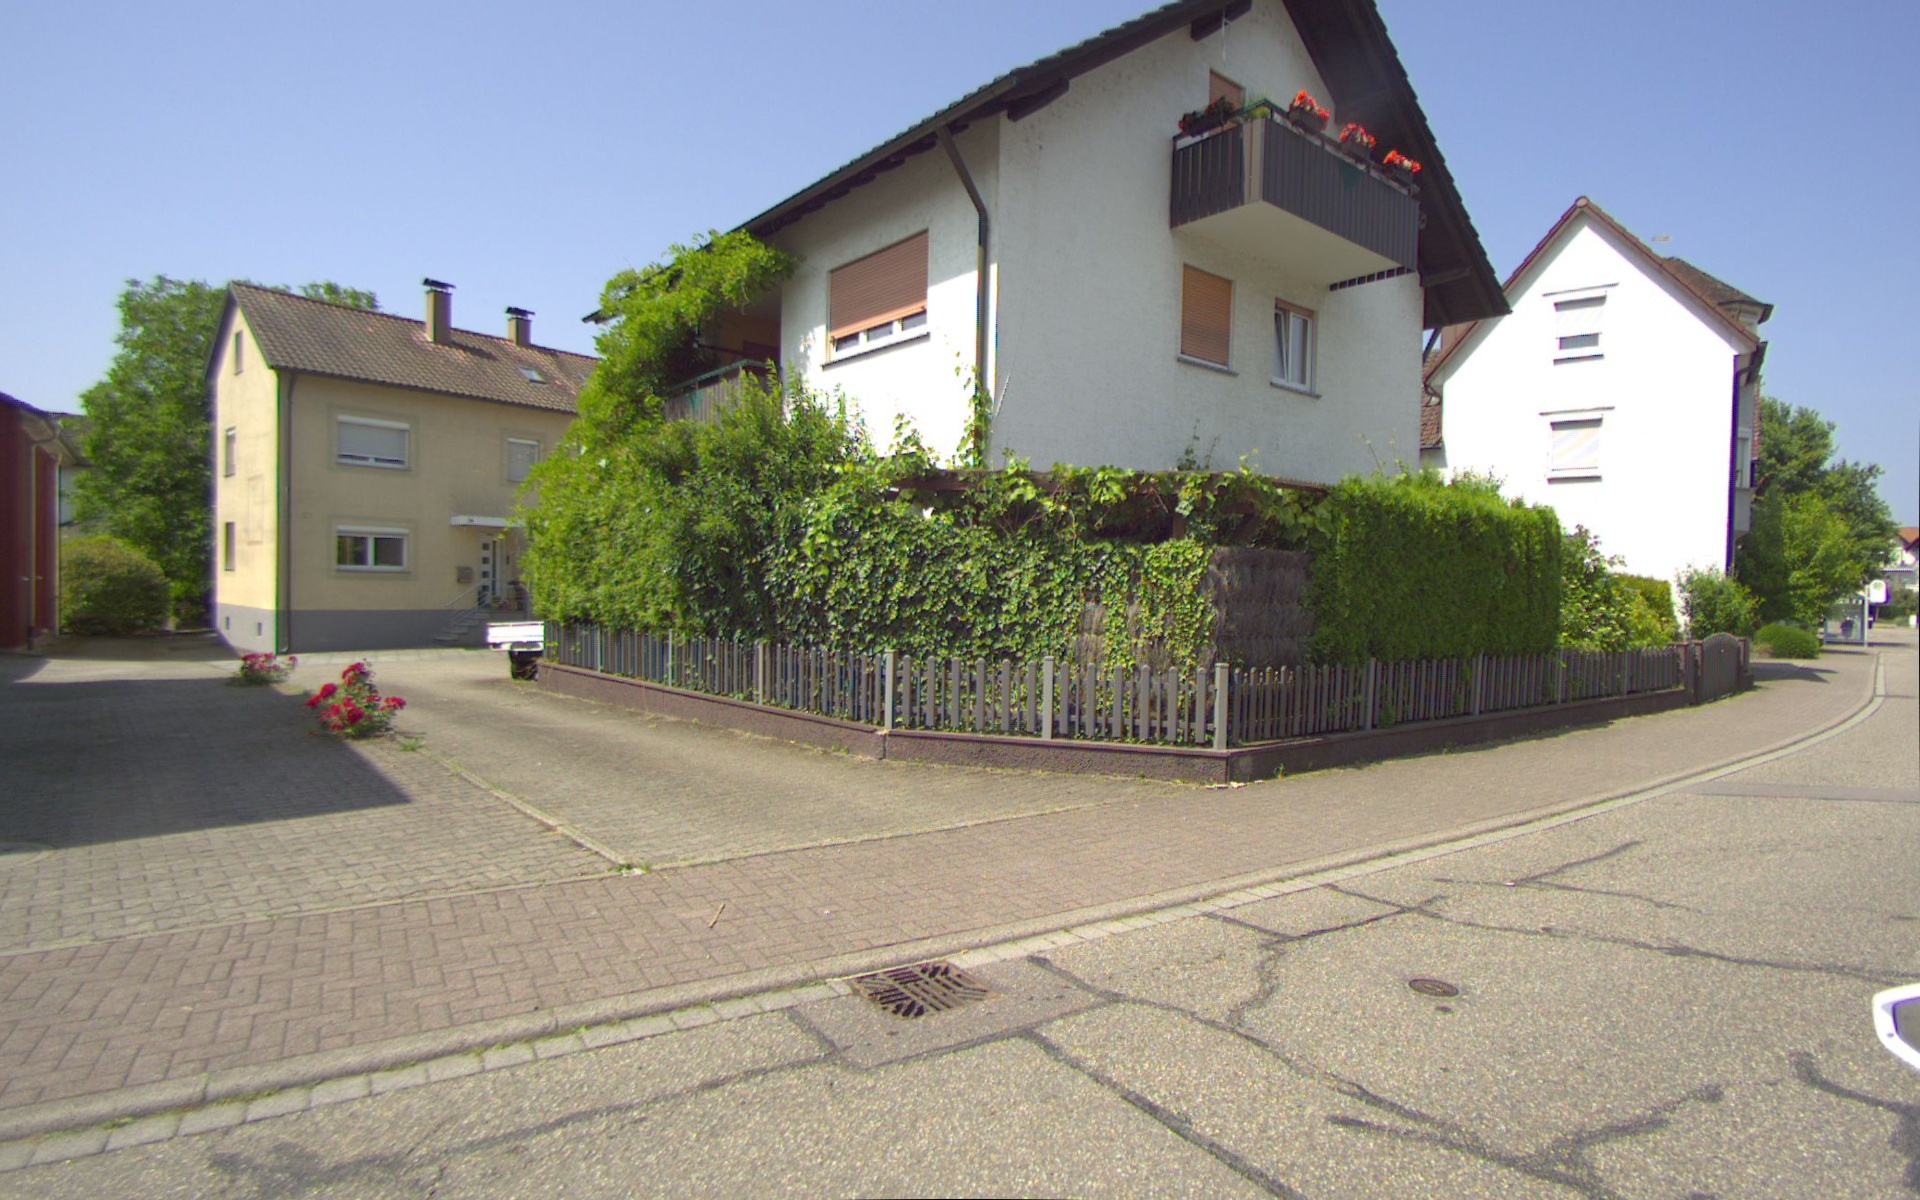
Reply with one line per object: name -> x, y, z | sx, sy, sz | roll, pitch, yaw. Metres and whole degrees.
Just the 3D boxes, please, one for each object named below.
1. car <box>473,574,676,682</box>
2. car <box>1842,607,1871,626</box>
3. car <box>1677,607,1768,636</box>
car -> -7.069, 0.549, 19.020 | 1.694, 1.779, 4.676 | 0, -2, 5
car -> 79.929, 1.476, 89.531 | 1.758, 1.645, 4.079 | 0, 0, 44
car -> 43.555, 1.202, 57.419 | 4.110, 1.559, 1.766 | -1, 0, 39
